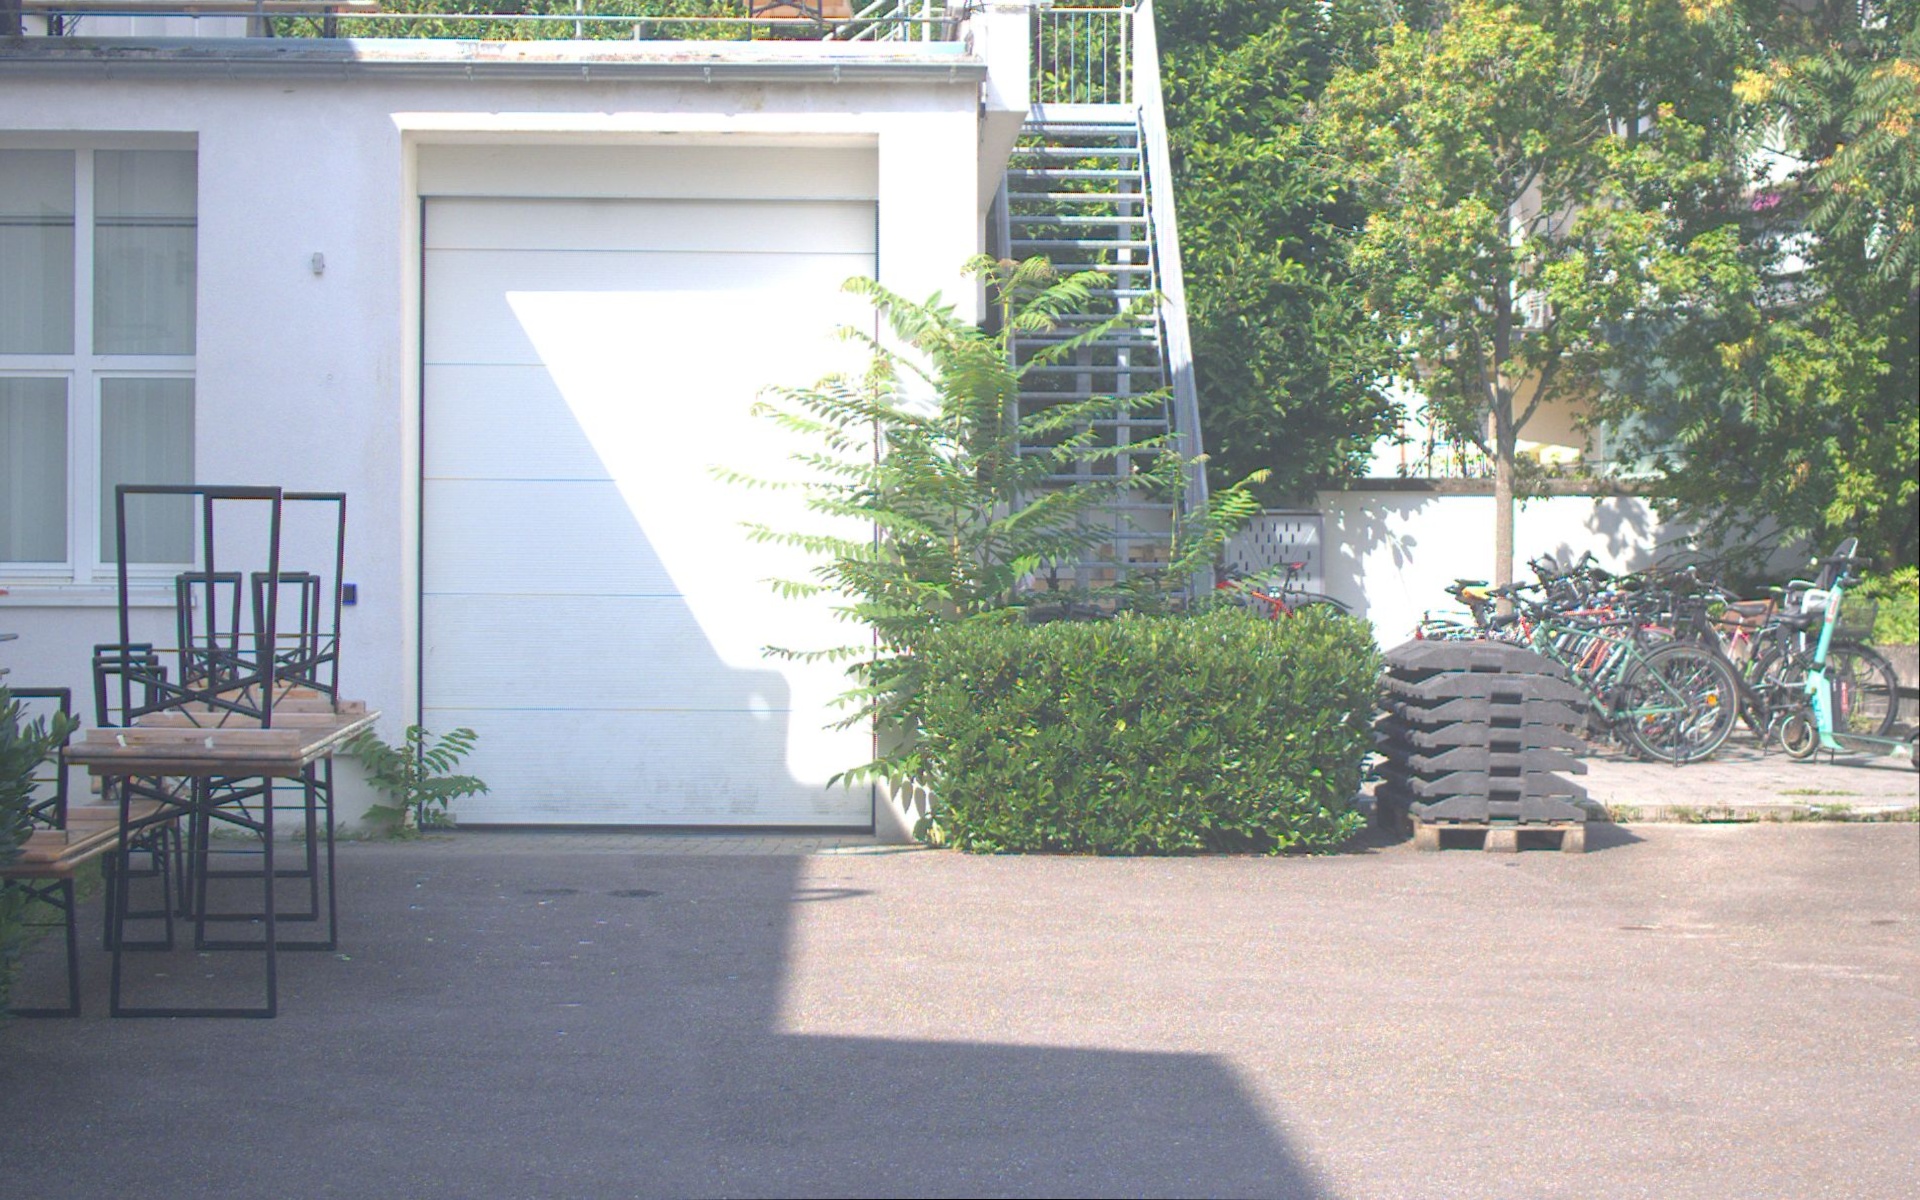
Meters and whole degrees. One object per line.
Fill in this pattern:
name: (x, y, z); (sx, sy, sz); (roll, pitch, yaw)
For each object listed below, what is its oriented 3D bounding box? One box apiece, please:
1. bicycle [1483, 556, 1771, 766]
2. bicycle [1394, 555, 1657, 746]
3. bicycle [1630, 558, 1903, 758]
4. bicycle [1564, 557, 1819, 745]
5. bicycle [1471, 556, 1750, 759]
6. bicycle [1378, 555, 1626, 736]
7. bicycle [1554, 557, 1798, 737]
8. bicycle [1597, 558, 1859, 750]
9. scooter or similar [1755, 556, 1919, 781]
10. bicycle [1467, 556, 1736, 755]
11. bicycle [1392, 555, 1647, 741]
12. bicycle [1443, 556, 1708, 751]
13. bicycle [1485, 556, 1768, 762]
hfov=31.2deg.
bicycle: (3.912, 0.352, 20.188); (1.623, 1.210, 0.327); (0, 1, 0)
bicycle: (3.660, 0.320, 22.291); (1.623, 1.210, 0.424); (0, 1, -2)
bicycle: (4.962, 0.353, 21.175); (1.624, 1.210, 0.327); (0, 1, 14)
bicycle: (4.801, 0.332, 22.609); (1.624, 1.210, 0.424); (0, 1, 11)
bicycle: (3.932, 0.343, 20.804); (1.623, 1.210, 0.327); (0, 1, 0)
bicycle: (3.705, 0.303, 23.529); (1.623, 1.210, 0.424); (-1, 1, -6)
bicycle: (4.915, 0.319, 23.638); (1.624, 1.210, 0.424); (0, 1, 11)
bicycle: (4.914, 0.341, 22.035); (1.624, 1.210, 0.424); (0, 1, 12)
scooter or similar: (5.251, 0.379, 19.969); (0.378, 1.256, 1.349); (-1, 1, -33)
bicycle: (3.955, 0.338, 21.255); (1.623, 1.210, 0.327); (0, 1, 9)
bicycle: (3.727, 0.312, 22.927); (1.623, 1.210, 0.424); (-1, 1, -7)
bicycle: (3.867, 0.331, 21.618); (1.624, 1.210, 0.327); (0, 1, 12)
bicycle: (3.969, 0.348, 20.510); (1.623, 1.210, 0.327); (0, 1, 0)
